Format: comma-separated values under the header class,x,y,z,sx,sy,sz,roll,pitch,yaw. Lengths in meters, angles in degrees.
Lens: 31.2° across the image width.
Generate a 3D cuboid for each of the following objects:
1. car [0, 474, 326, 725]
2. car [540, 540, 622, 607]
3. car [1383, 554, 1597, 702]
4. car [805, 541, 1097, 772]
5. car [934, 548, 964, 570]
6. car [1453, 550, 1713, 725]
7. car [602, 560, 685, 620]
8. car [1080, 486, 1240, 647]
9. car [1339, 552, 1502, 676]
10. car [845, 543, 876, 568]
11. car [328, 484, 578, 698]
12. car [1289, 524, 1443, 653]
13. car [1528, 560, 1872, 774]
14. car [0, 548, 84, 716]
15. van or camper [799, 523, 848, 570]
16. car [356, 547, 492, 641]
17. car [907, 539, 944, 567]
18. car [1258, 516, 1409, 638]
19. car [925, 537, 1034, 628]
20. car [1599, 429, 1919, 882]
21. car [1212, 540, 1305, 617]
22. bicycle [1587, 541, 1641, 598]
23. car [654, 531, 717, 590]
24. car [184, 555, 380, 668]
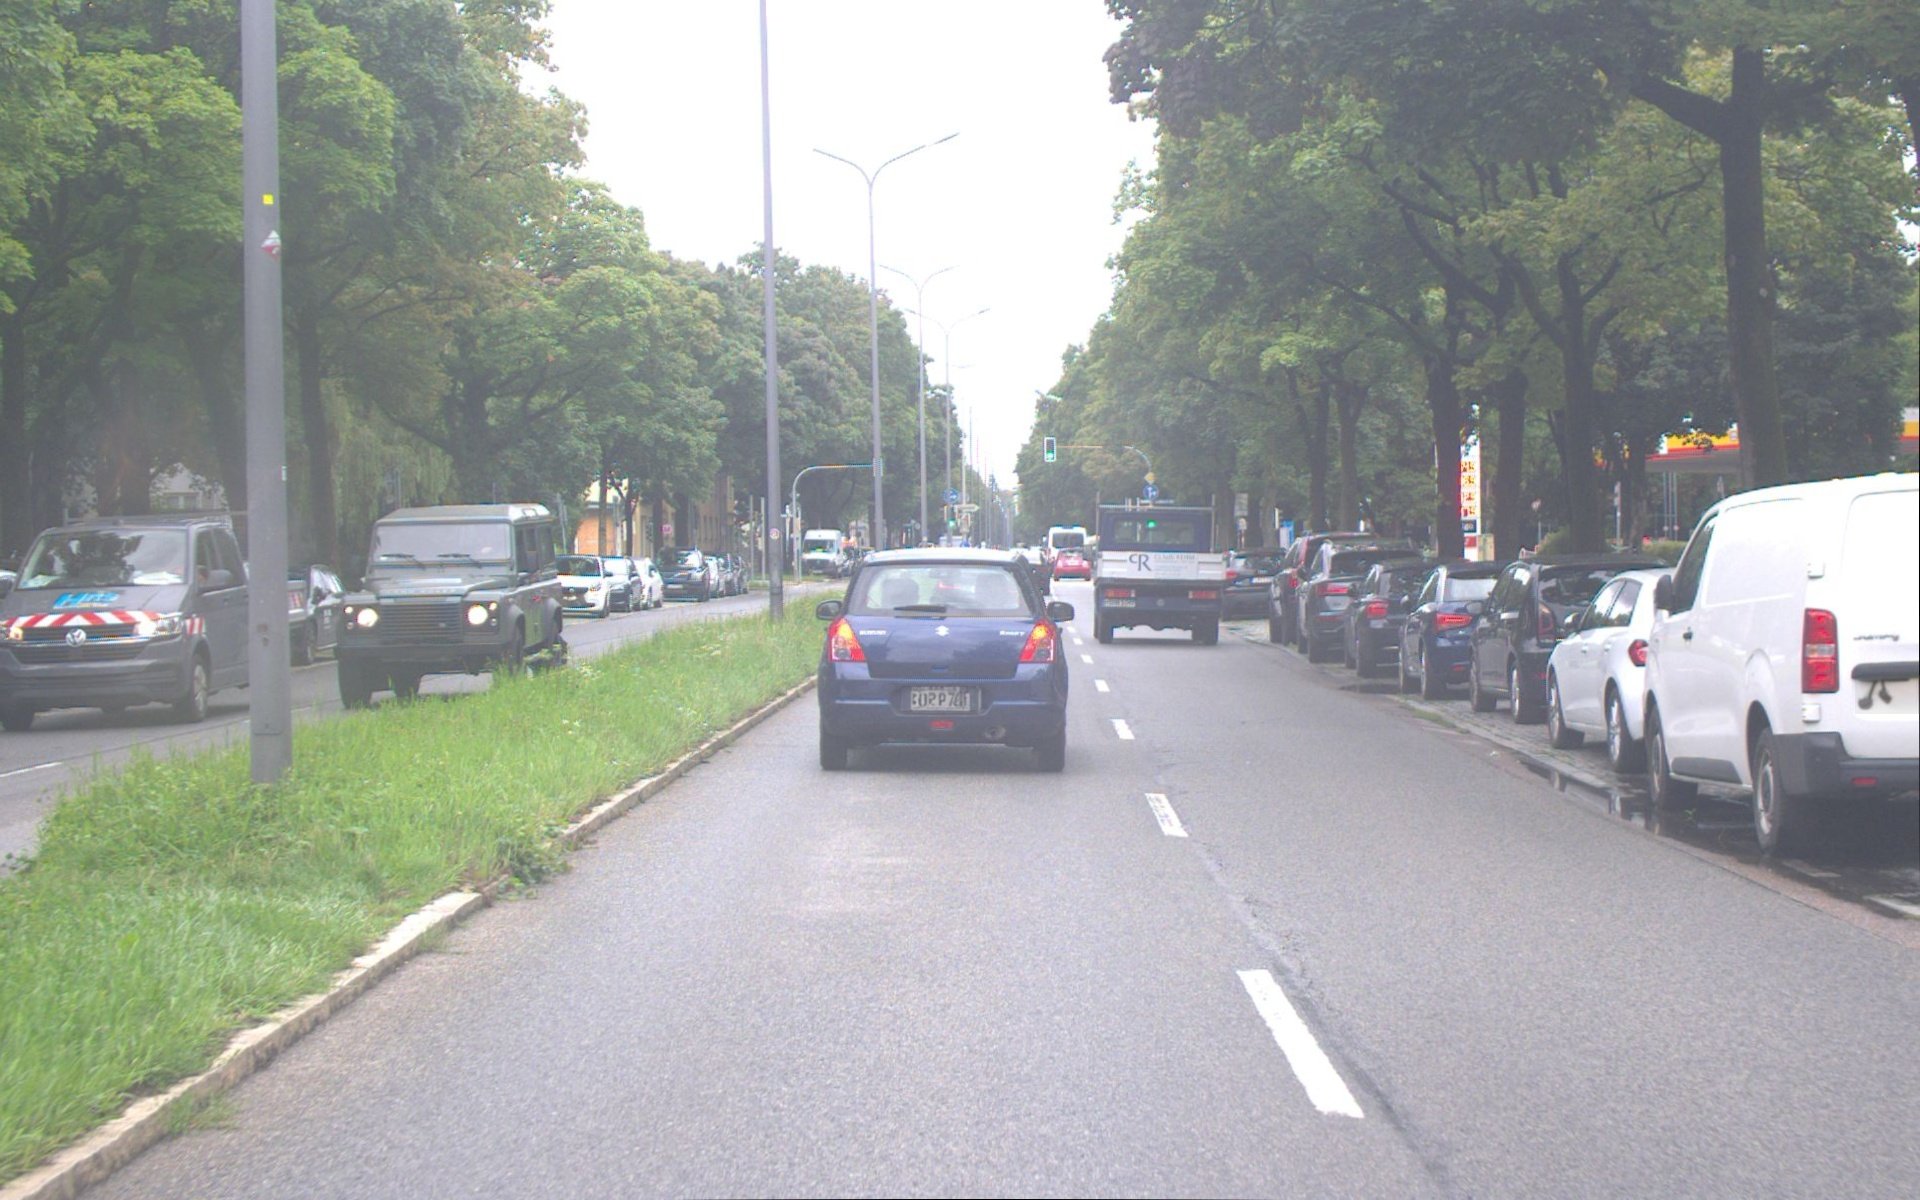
class,x,y,z,sx,sy,sz,roll,pitch,yaw
car,-7.953,-0.047,33.849,2.209,2.186,5.799,-2,1,1
car,-9.444,-0.679,85.846,1.690,1.560,3.080,2,1,-1
car,5.555,0.252,36.442,1.702,1.416,4.121,-1,1,1
car,-0.117,0.341,24.308,1.896,1.494,3.660,1,1,-2
car,-0.745,-2.702,225.856,1.737,1.437,4.103,-1,1,3
car,5.584,0.291,31.242,1.702,1.441,3.978,-1,1,1
car,-8.428,-0.283,91.850,1.674,1.470,4.215,2,1,1
car,3.179,-0.553,55.173,2.419,2.436,5.086,1,1,3
car,5.696,0.136,42.933,1.702,1.403,4.512,-1,1,4
car,-5.946,-2.665,205.315,1.636,1.437,3.735,-1,1,1
car,-5.150,-0.127,35.532,1.780,2.022,4.818,-1,1,1
car,5.644,-0.198,48.210,1.813,1.670,4.799,-1,1,3
car,5.379,0.432,25.483,1.702,1.392,4.233,-1,1,1
car,-10.400,0.296,35.372,1.626,1.642,3.867,2,1,2
van or camper,-7.315,-2.882,184.791,2.140,2.467,6.259,-1,1,1
car,-9.768,-0.140,62.938,1.757,1.589,4.489,2,1,0
car,-1.796,-2.482,180.009,1.739,1.435,4.215,-1,1,1
car,5.854,-0.390,54.361,1.893,1.794,4.861,-1,1,1
car,0.367,-0.323,59.310,1.799,1.494,3.660,-1,1,1
car,5.023,0.198,19.148,1.987,2.150,5.555,-1,1,1
car,6.360,-0.485,73.598,1.779,1.506,4.284,-2,1,3
bicycle,13.828,-0.659,72.770,0.748,1.179,2.247,-1,1,1
car,-8.739,-1.280,109.868,1.796,1.757,5.059,2,1,-3
car,-9.999,0.133,51.043,1.760,1.508,4.947,2,1,2
